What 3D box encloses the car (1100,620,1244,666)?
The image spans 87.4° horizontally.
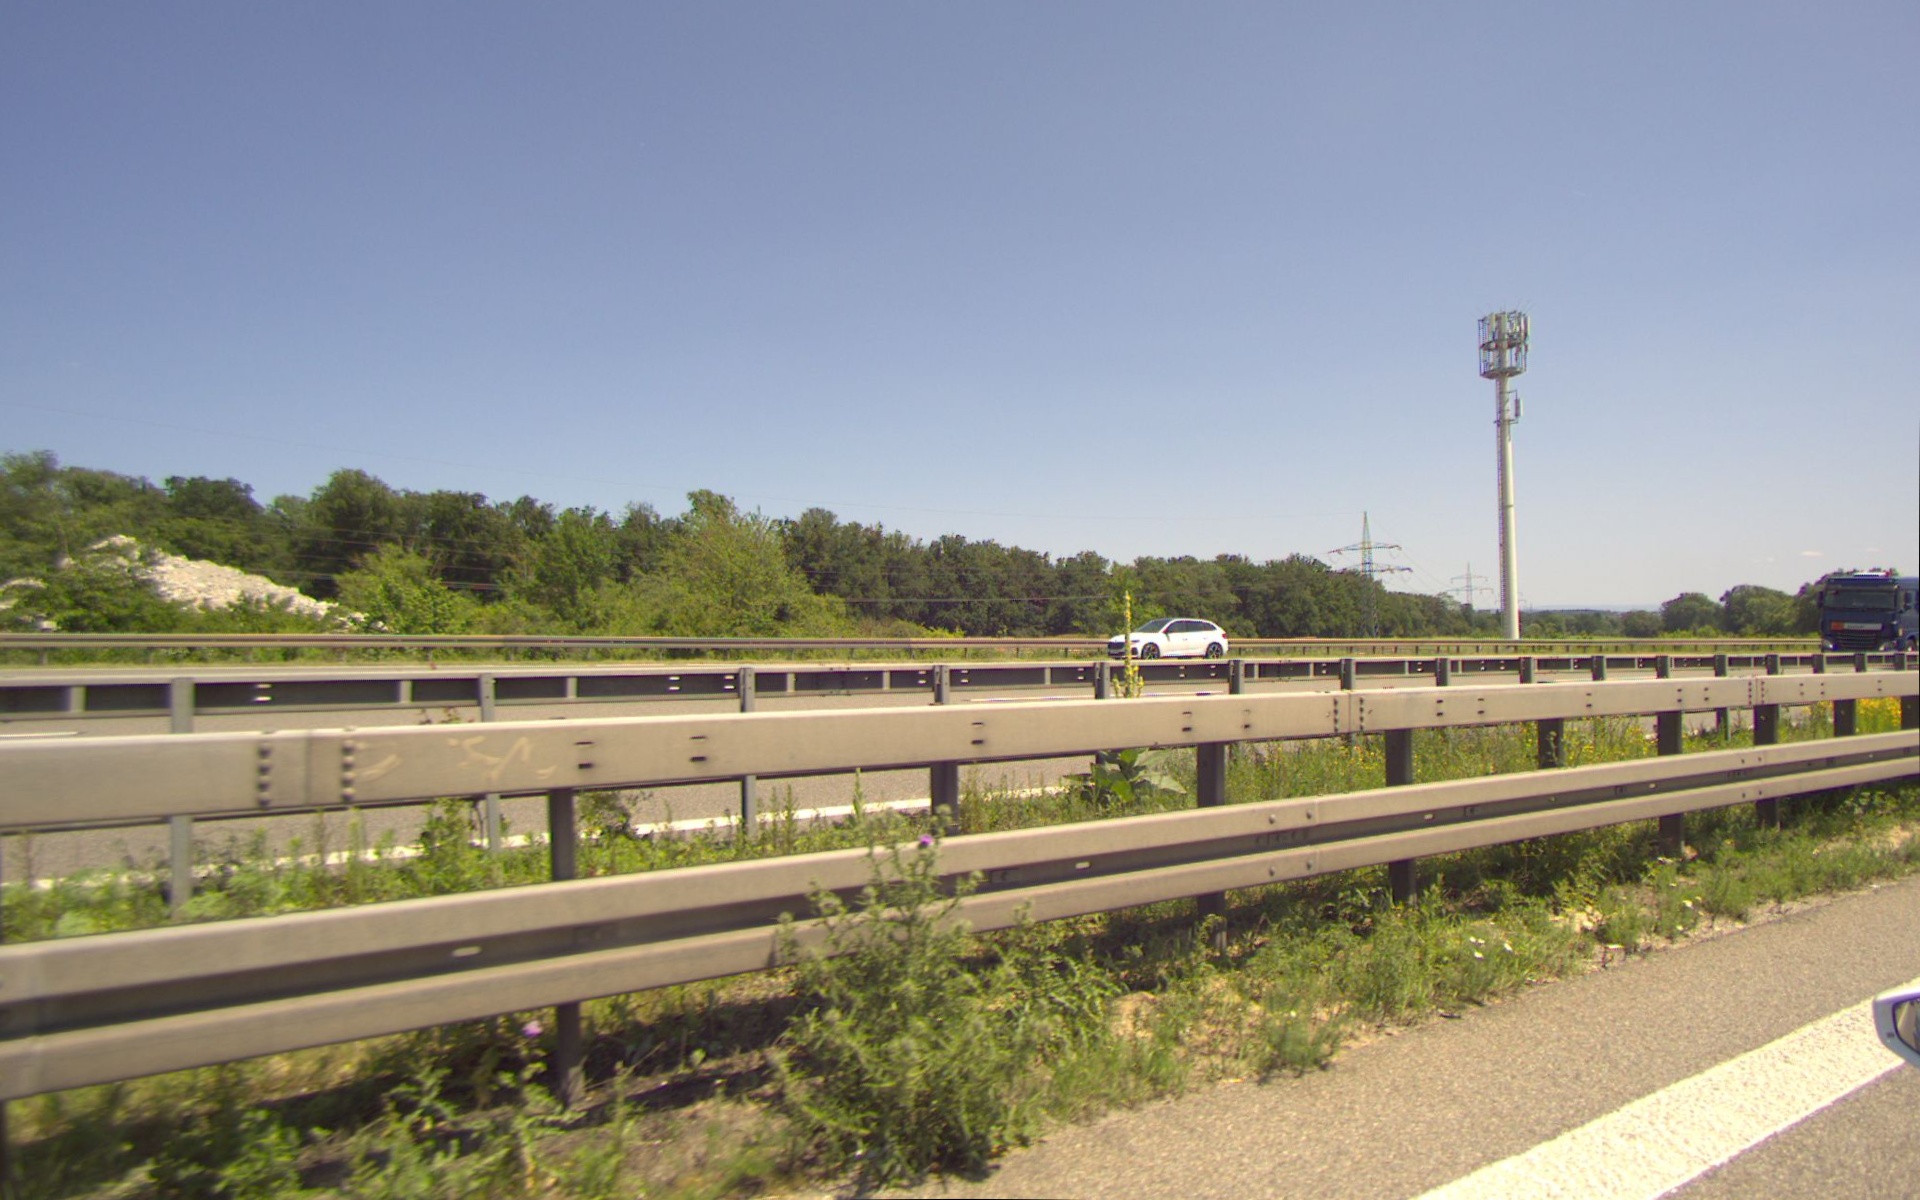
[{"bbox_3d":[7.044,1.408,33.256,4.732,1.420,1.513,1,-1,-25],"label":"car"}]

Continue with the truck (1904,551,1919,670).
[{"bbox_3d":[37.483,0.458,36.208,7.508,4.174,2.953,2,0,-30],"label":"truck"}]

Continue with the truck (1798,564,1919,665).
[{"bbox_3d":[40.384,0.663,42.634,12.748,3.836,3.204,1,0,-30],"label":"truck"}]
